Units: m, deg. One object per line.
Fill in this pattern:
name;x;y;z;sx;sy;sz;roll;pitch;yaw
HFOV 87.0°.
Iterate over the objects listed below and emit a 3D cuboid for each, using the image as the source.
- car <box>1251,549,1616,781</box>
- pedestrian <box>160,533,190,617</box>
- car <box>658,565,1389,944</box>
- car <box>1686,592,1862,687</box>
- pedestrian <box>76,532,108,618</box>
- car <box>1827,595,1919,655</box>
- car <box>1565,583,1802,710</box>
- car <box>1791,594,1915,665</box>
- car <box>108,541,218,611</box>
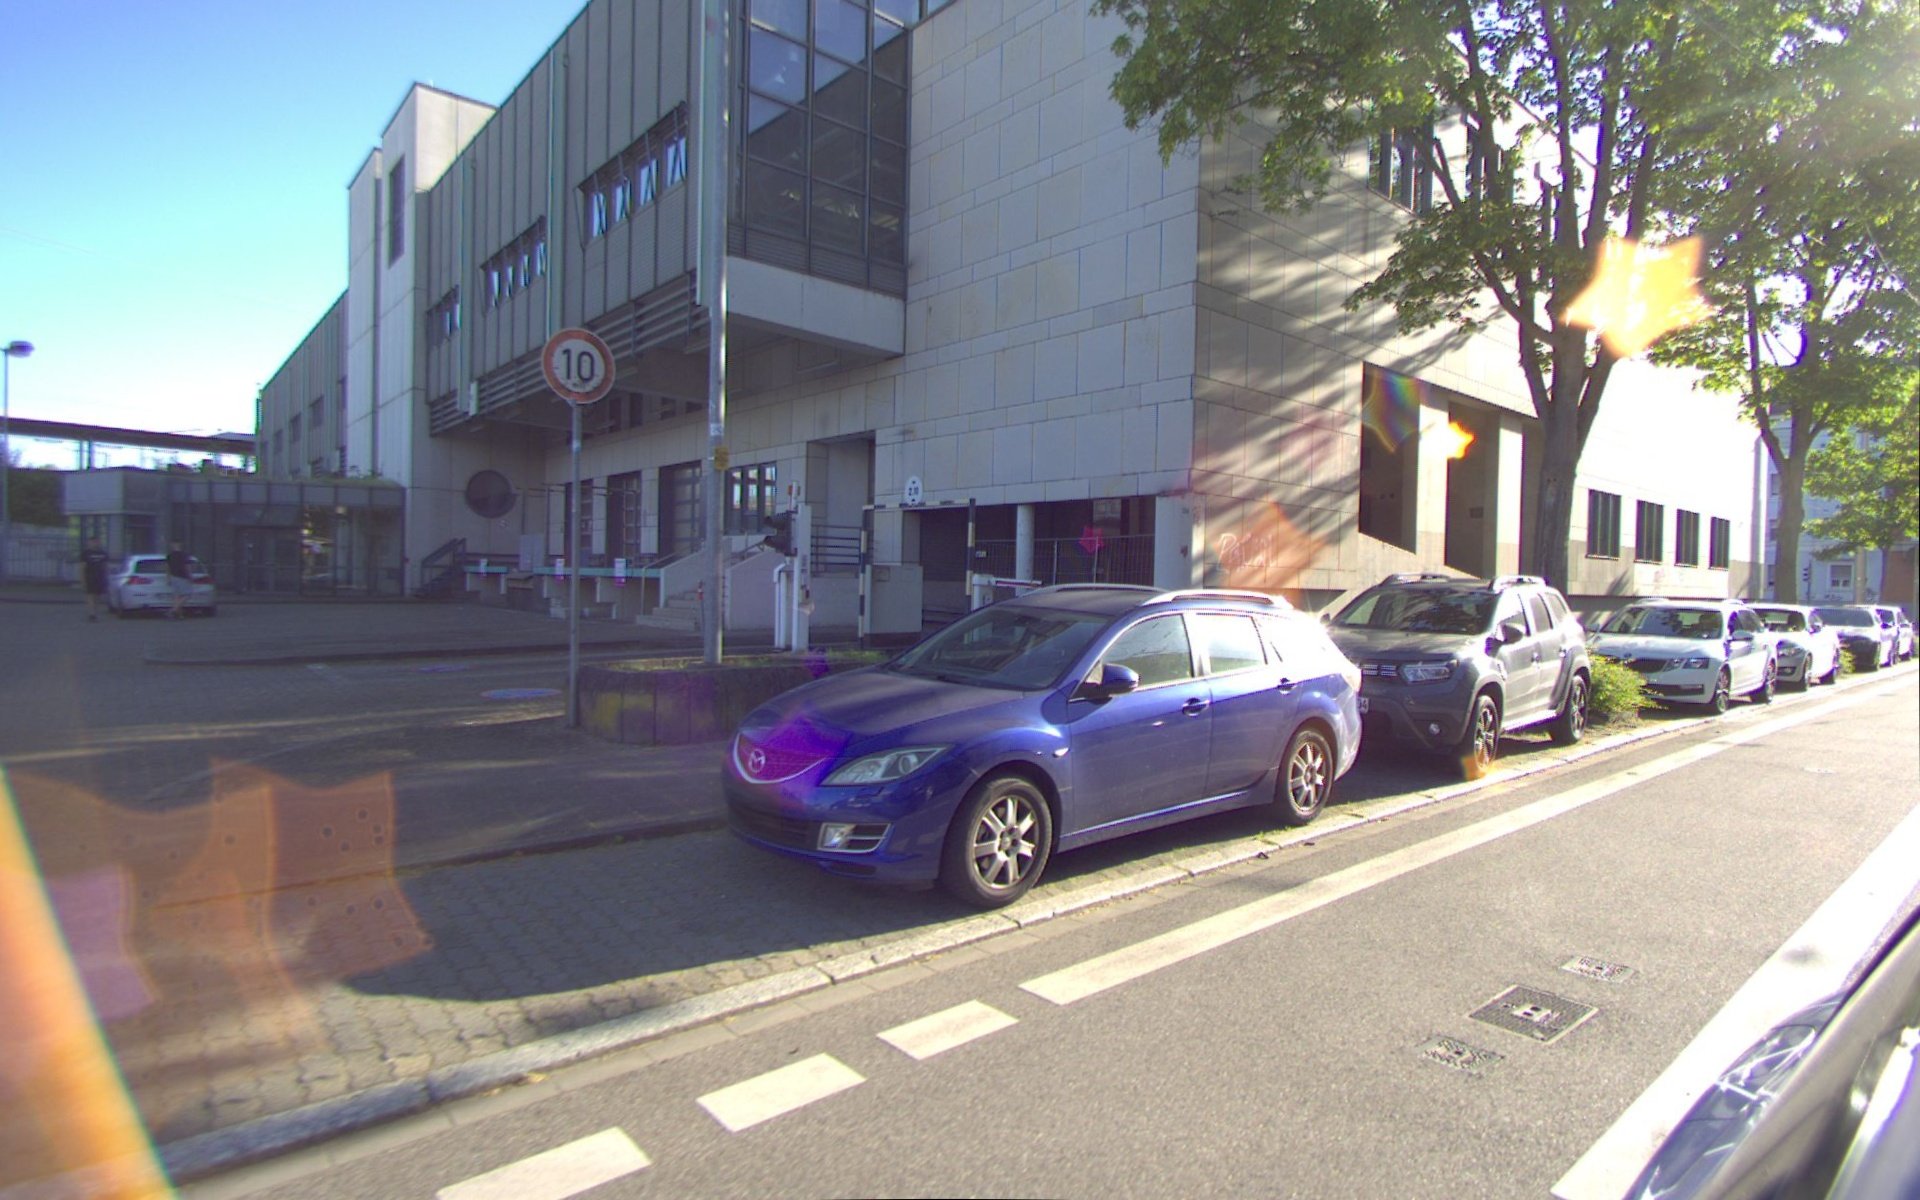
car;4.663;0.449;9.653;4.206;1.733;1.743;-1;1;-43
pedestrian;-17.089;-0.542;22.038;0.502;1.803;0.481;0;0;-39
car;0.688;0.574;6.181;4.577;1.500;1.706;-1;2;-41
car;14.817;0.617;18.340;4.253;1.425;1.712;-1;3;-41
pedestrian;-18.555;-0.535;21.638;0.502;1.803;0.481;0;0;-39
car;25.211;0.627;27.711;3.930;1.498;1.653;-1;1;-41
car;10.481;0.577;14.523;4.542;1.508;1.716;1;2;-41
car;21.286;0.631;24.064;4.582;1.425;1.680;-1;3;-42
car;-18.725;-0.547;23.708;1.868;1.492;4.081;-1;1;-41
